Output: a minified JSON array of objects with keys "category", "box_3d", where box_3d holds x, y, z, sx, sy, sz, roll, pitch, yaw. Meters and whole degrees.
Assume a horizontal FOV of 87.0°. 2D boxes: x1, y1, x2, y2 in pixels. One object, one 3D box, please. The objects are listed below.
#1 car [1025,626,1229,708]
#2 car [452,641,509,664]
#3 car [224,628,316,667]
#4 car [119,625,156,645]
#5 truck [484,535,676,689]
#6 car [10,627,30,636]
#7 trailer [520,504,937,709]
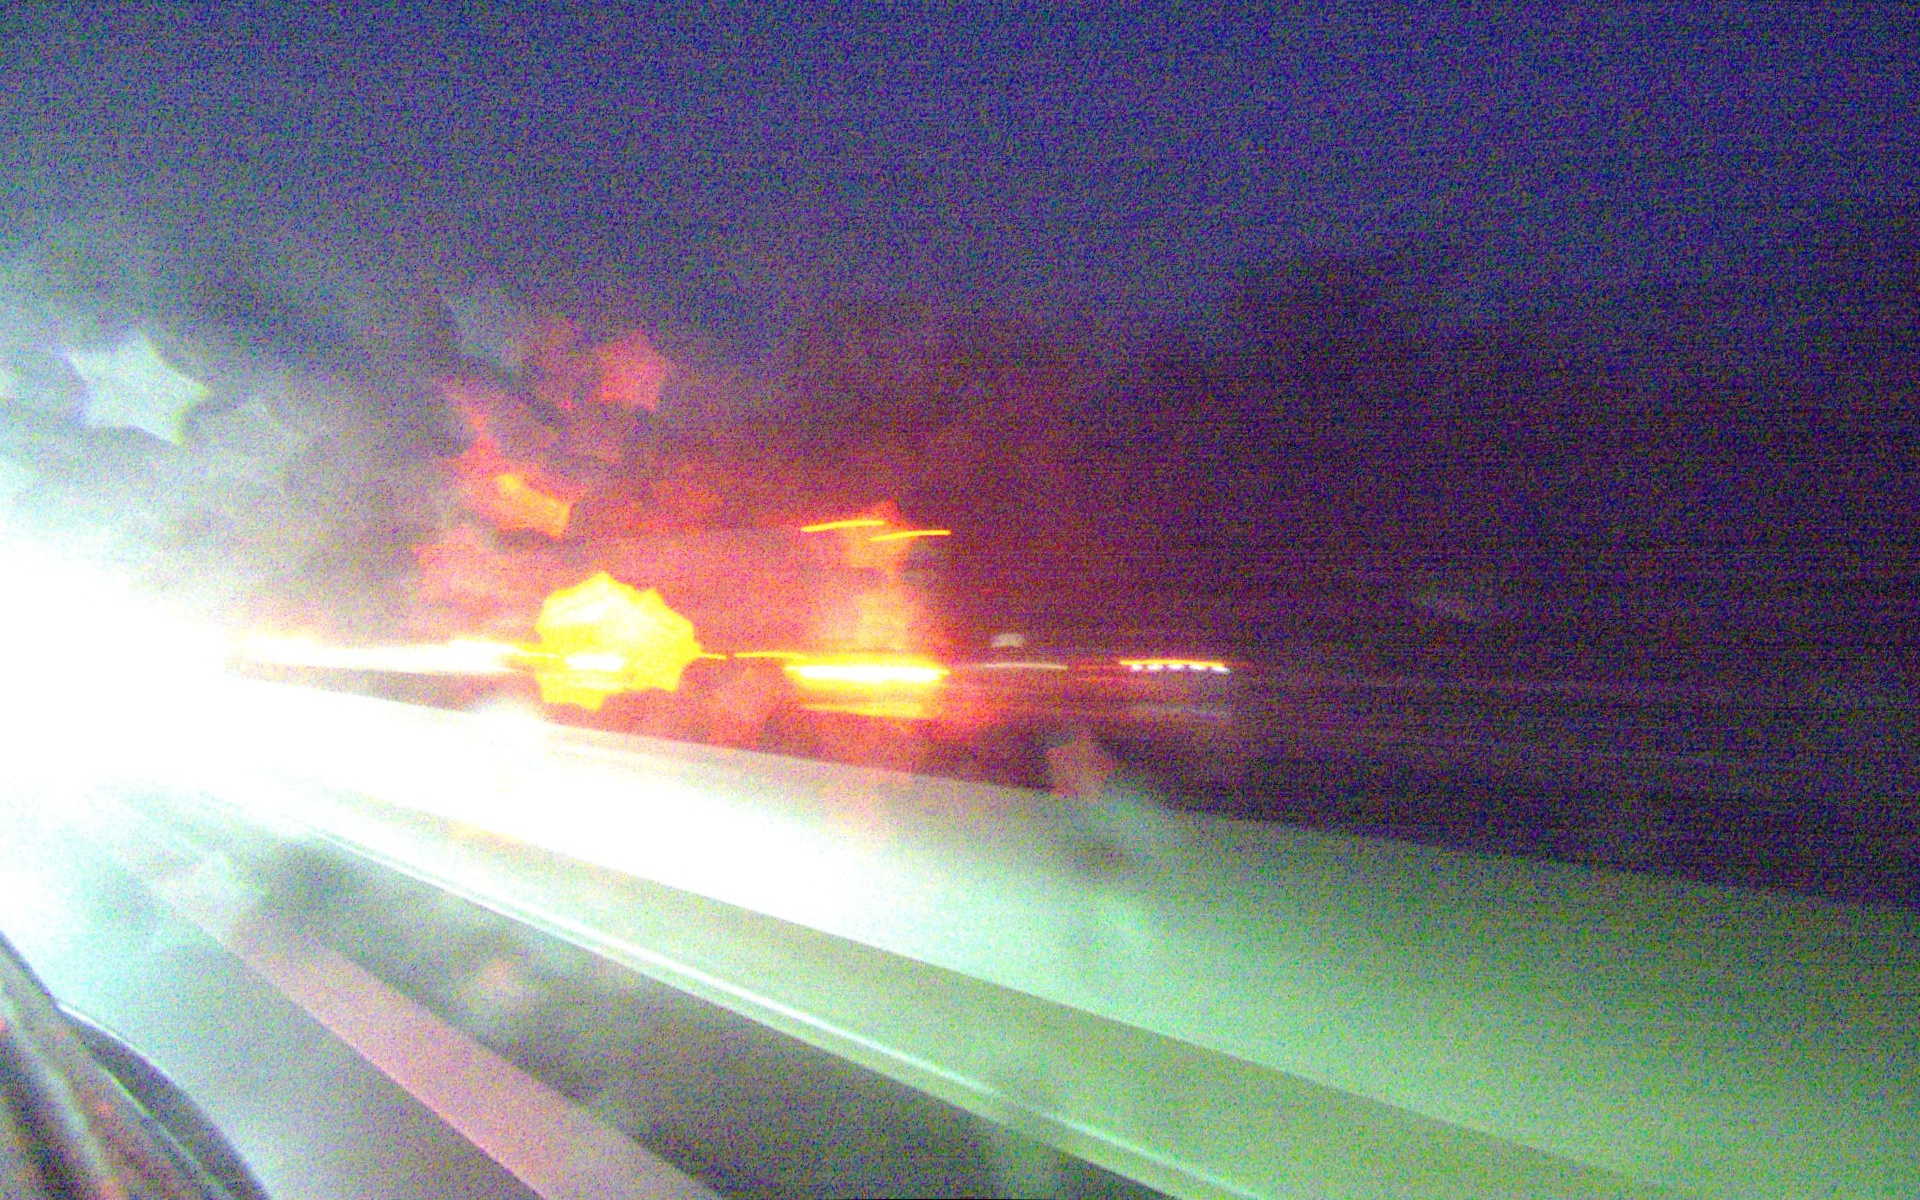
[{"category":"car","box_3d":[4.228,1.647,26.071,4.787,1.907,2.191,-1,-3,41]},{"category":"car","box_3d":[-25.095,2.708,52.886,3.540,1.134,1.394,-1,-3,41]},{"category":"car","box_3d":[-26.586,1.800,38.972,3.998,1.431,1.973,-1,-3,41]},{"category":"car","box_3d":[-83.857,3.564,103.134,5.384,1.963,1.973,-2,-3,41]},{"category":"truck","box_3d":[-11.947,0.458,31.640,6.080,4.326,3.022,-2,-3,41]},{"category":"car","box_3d":[-132.026,4.449,142.161,4.043,1.111,1.621,-1,0,40]},{"category":"trailer","box_3d":[-6.958,0.331,27.289,14.401,4.326,3.016,-1,-3,41]}]
